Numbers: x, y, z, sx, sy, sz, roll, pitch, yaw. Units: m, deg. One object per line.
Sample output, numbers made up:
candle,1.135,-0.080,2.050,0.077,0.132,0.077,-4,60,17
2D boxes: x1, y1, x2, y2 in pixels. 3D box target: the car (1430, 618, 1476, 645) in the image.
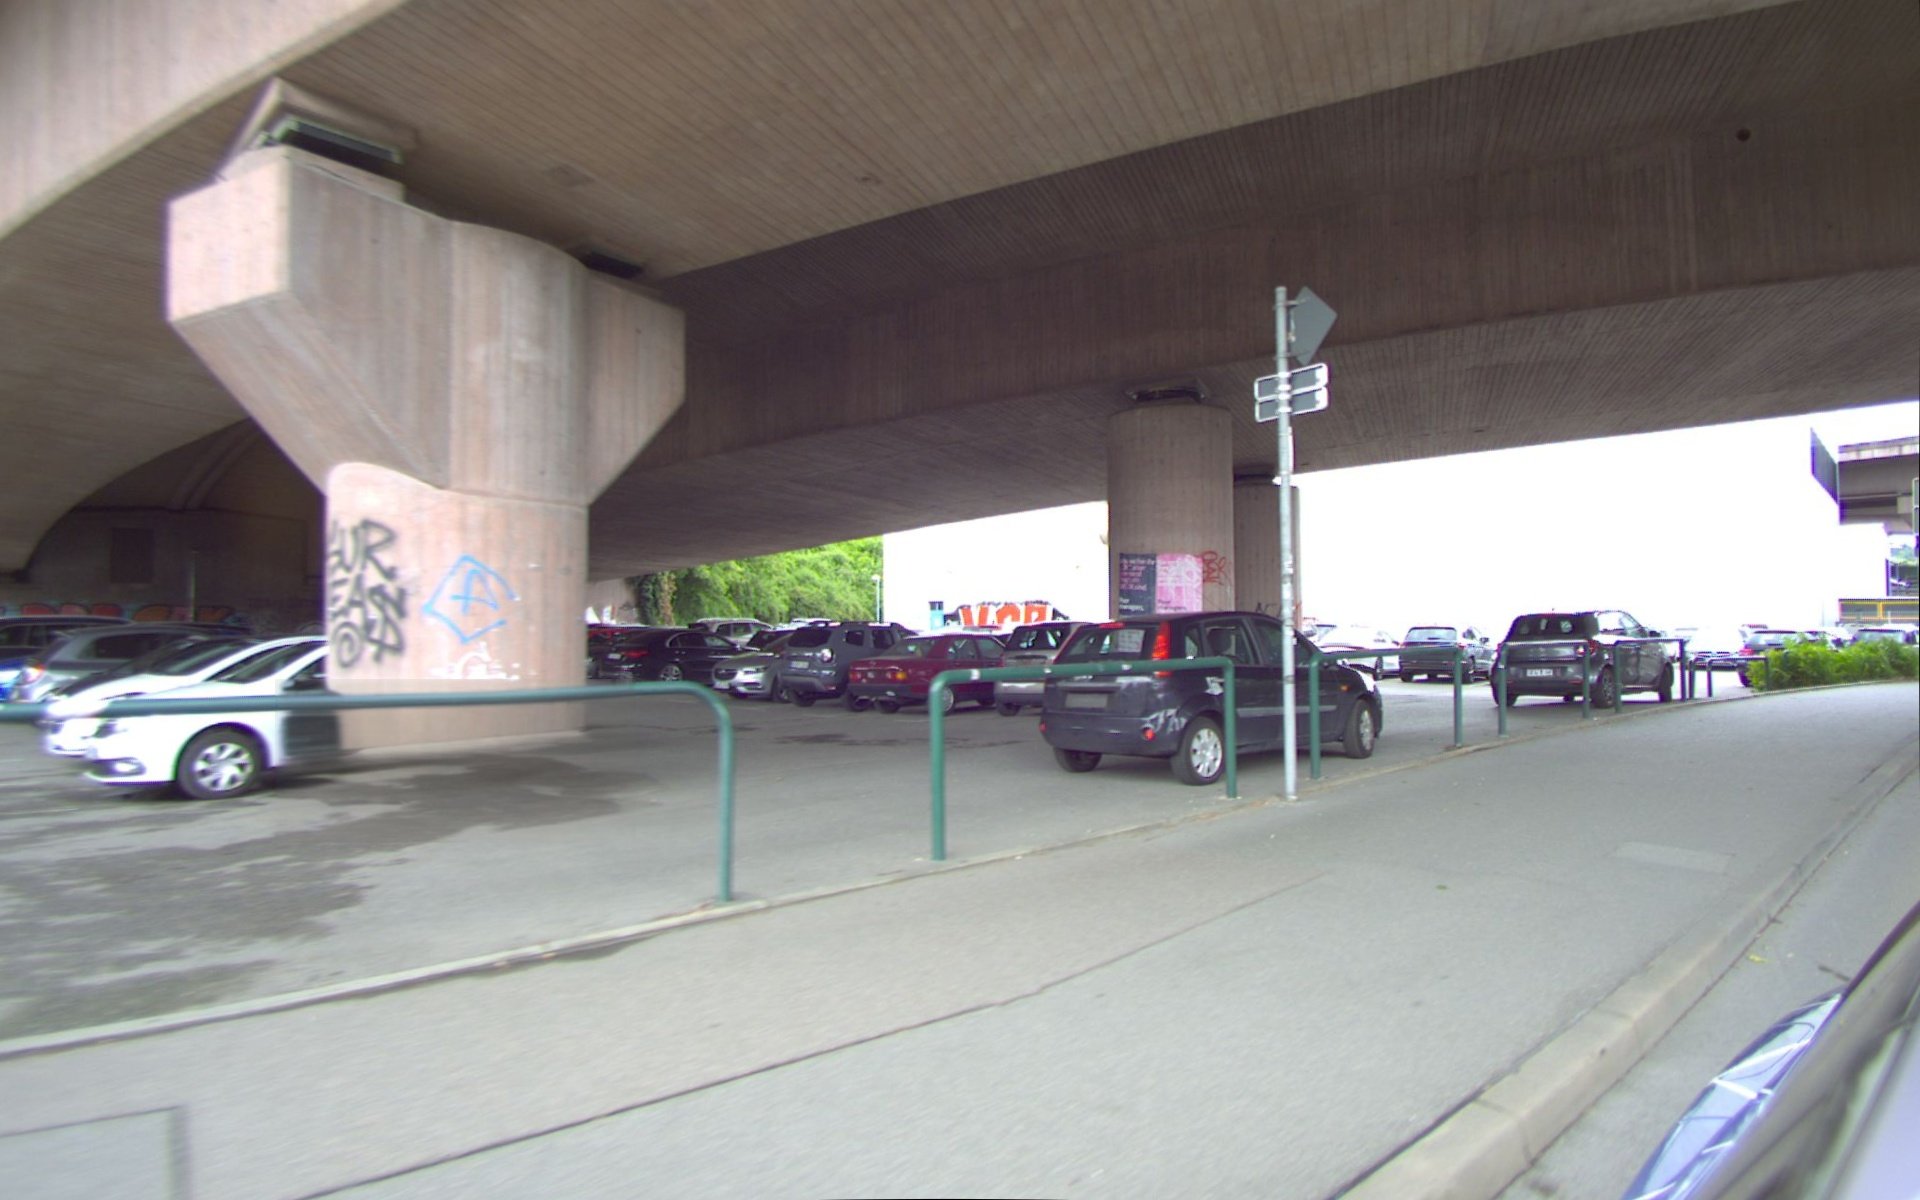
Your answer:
car,28.300,1.791,58.021,1.490,1.478,4.006,-1,-1,39

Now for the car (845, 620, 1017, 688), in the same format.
car,-0.632,1.224,24.390,1.831,1.484,4.128,-1,-2,42

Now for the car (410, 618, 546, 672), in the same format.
car,-15.474,1.405,32.584,1.672,1.619,3.607,-1,-2,42

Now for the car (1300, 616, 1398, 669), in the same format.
car,13.625,1.436,35.310,1.749,1.713,4.364,-1,-2,42

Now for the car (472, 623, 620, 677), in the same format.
car,-11.835,1.382,29.070,1.672,1.445,3.607,-1,-2,42

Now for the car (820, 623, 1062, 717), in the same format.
car,-0.248,1.193,18.366,4.307,1.489,1.833,1,-3,-44

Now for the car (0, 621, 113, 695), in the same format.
car,-19.811,1.165,20.463,1.747,1.457,3.812,-1,-2,35

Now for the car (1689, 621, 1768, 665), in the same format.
car,27.727,1.504,36.459,1.851,1.494,4.614,-1,-2,42

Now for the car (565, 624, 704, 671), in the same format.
car,-10.949,1.555,34.253,1.831,1.484,4.128,-1,-2,42

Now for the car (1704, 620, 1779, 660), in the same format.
car,31.350,1.563,40.538,1.833,1.533,4.428,-2,-2,45

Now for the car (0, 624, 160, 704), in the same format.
car,-17.950,1.191,19.375,1.747,1.453,3.812,-1,-2,35

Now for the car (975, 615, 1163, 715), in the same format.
car,1.926,1.057,17.293,1.524,1.519,3.323,-4,-4,42

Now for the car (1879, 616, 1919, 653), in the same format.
car,42.446,1.513,45.326,1.770,1.608,4.291,-1,-1,44

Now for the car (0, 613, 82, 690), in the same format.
car,-21.738,1.121,21.908,1.747,1.659,3.812,-1,-2,35

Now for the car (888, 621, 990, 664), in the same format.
car,-0.806,1.672,41.009,1.831,1.613,4.128,-1,-2,42

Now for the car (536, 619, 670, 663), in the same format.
car,-12.543,1.400,35.767,1.831,1.484,4.128,-1,-2,42

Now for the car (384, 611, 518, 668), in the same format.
car,-17.155,1.293,34.214,1.876,1.811,3.607,-1,-2,42

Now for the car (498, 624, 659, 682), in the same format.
car,-10.397,1.397,27.748,1.672,1.445,3.803,-1,-2,42

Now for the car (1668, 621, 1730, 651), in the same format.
car,36.215,1.729,49.573,4.289,1.401,1.771,1,-1,-45

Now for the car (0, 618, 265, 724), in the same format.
car,-14.062,1.089,16.782,1.747,1.575,3.812,-1,-2,35

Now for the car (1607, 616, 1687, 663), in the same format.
car,26.005,1.448,38.227,1.851,1.649,4.549,-1,-2,42

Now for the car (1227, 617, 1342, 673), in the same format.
car,9.990,1.321,30.998,1.831,1.613,4.128,-1,-2,42

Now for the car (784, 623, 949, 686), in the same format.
car,-2.338,1.339,26.086,1.831,1.484,4.128,-1,-2,42

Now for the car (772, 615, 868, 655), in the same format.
car,-6.300,1.541,45.849,1.831,1.710,4.128,-1,-2,42

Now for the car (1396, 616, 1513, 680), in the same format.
car,13.648,1.251,27.807,1.831,1.613,4.128,-1,-2,42

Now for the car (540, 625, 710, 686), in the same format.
car,-8.609,1.370,26.204,1.831,1.445,3.803,-1,-2,42

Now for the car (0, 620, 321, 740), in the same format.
car,-12.191,1.102,15.411,1.687,1.575,3.812,-1,-2,35

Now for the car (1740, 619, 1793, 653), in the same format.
car,38.568,1.696,48.361,3.047,1.564,1.619,1,-1,-45

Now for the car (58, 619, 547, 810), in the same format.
car,-6.568,0.991,10.493,1.630,1.572,3.955,-1,-1,39

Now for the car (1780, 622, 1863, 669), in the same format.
car,29.809,1.521,34.972,1.852,1.494,4.611,-1,-2,45

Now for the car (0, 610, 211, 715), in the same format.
car,-15.934,1.054,18.025,1.747,1.716,3.812,-1,-2,35

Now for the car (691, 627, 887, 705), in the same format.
car,-3.528,1.321,21.391,1.831,1.445,3.803,-1,-2,42

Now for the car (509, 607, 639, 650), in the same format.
car,-14.224,1.036,37.438,1.831,1.484,4.128,-1,-2,42

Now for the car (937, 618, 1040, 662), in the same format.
car,1.152,1.506,39.404,1.831,1.613,4.128,-1,-2,42

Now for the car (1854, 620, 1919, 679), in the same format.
car,25.658,1.290,27.112,2.703,1.498,1.547,0,-1,-24

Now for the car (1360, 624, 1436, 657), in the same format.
car,19.503,1.771,45.011,1.778,1.410,4.367,-1,-2,42

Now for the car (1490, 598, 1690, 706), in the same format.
car,10.161,0.801,16.277,3.347,1.553,1.609,1,-3,-38

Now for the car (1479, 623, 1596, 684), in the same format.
car,15.282,1.346,26.686,1.831,1.439,4.128,-1,-2,42

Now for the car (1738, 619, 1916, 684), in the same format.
car,21.637,1.238,25.258,4.161,1.498,1.738,0,-1,-24

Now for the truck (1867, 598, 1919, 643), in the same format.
truck,65.482,1.393,67.649,2.997,2.970,6.916,2,-2,-42

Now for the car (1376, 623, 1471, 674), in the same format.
car,15.420,1.549,33.598,1.749,1.577,4.025,-1,-2,42

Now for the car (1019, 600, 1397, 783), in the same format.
car,2.424,0.763,9.579,3.513,1.415,1.609,1,-3,-38

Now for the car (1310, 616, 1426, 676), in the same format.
car,11.921,1.284,29.467,1.831,1.613,4.128,-1,-2,42

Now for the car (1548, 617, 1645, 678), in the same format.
car,19.045,1.355,30.198,1.738,1.697,4.402,-1,-2,42

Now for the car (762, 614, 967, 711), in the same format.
car,-1.789,1.138,19.874,1.831,1.720,3.803,-1,-2,42

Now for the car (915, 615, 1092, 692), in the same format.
car,1.065,1.143,22.906,1.831,1.570,4.128,-1,-2,42

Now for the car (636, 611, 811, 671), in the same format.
car,-7.240,1.223,31.441,2.082,1.699,5.028,-1,-2,42

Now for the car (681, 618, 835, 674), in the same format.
car,-5.788,1.279,29.393,1.831,1.484,4.128,-1,-2,42

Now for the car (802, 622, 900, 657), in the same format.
car,-4.714,1.703,44.248,1.831,1.427,4.128,-1,-2,42

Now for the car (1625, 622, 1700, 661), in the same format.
car,29.563,1.700,42.545,1.833,1.533,4.428,-2,-2,45

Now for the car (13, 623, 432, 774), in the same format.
car,-8.801,1.049,12.382,1.687,1.529,3.812,-1,-2,35

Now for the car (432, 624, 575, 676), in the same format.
car,-13.764,1.471,30.656,1.672,1.445,3.607,-1,-2,42

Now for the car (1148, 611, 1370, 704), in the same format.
car,5.708,1.051,19.334,3.779,1.526,1.793,-1,-2,-25

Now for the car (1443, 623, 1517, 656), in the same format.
car,24.288,1.800,47.206,1.833,1.444,4.370,-1,-2,45

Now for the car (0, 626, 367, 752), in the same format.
car,-10.662,1.112,14.086,1.687,1.462,3.812,-1,-2,35

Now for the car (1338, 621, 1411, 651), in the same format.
car,20.724,1.779,50.540,1.833,1.444,4.370,-1,-2,45

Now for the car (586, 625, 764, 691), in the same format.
car,-6.883,1.342,24.682,1.831,1.445,3.803,-1,-2,42

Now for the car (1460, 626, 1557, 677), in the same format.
car,17.457,1.575,32.131,1.749,1.467,4.391,-1,-2,42
